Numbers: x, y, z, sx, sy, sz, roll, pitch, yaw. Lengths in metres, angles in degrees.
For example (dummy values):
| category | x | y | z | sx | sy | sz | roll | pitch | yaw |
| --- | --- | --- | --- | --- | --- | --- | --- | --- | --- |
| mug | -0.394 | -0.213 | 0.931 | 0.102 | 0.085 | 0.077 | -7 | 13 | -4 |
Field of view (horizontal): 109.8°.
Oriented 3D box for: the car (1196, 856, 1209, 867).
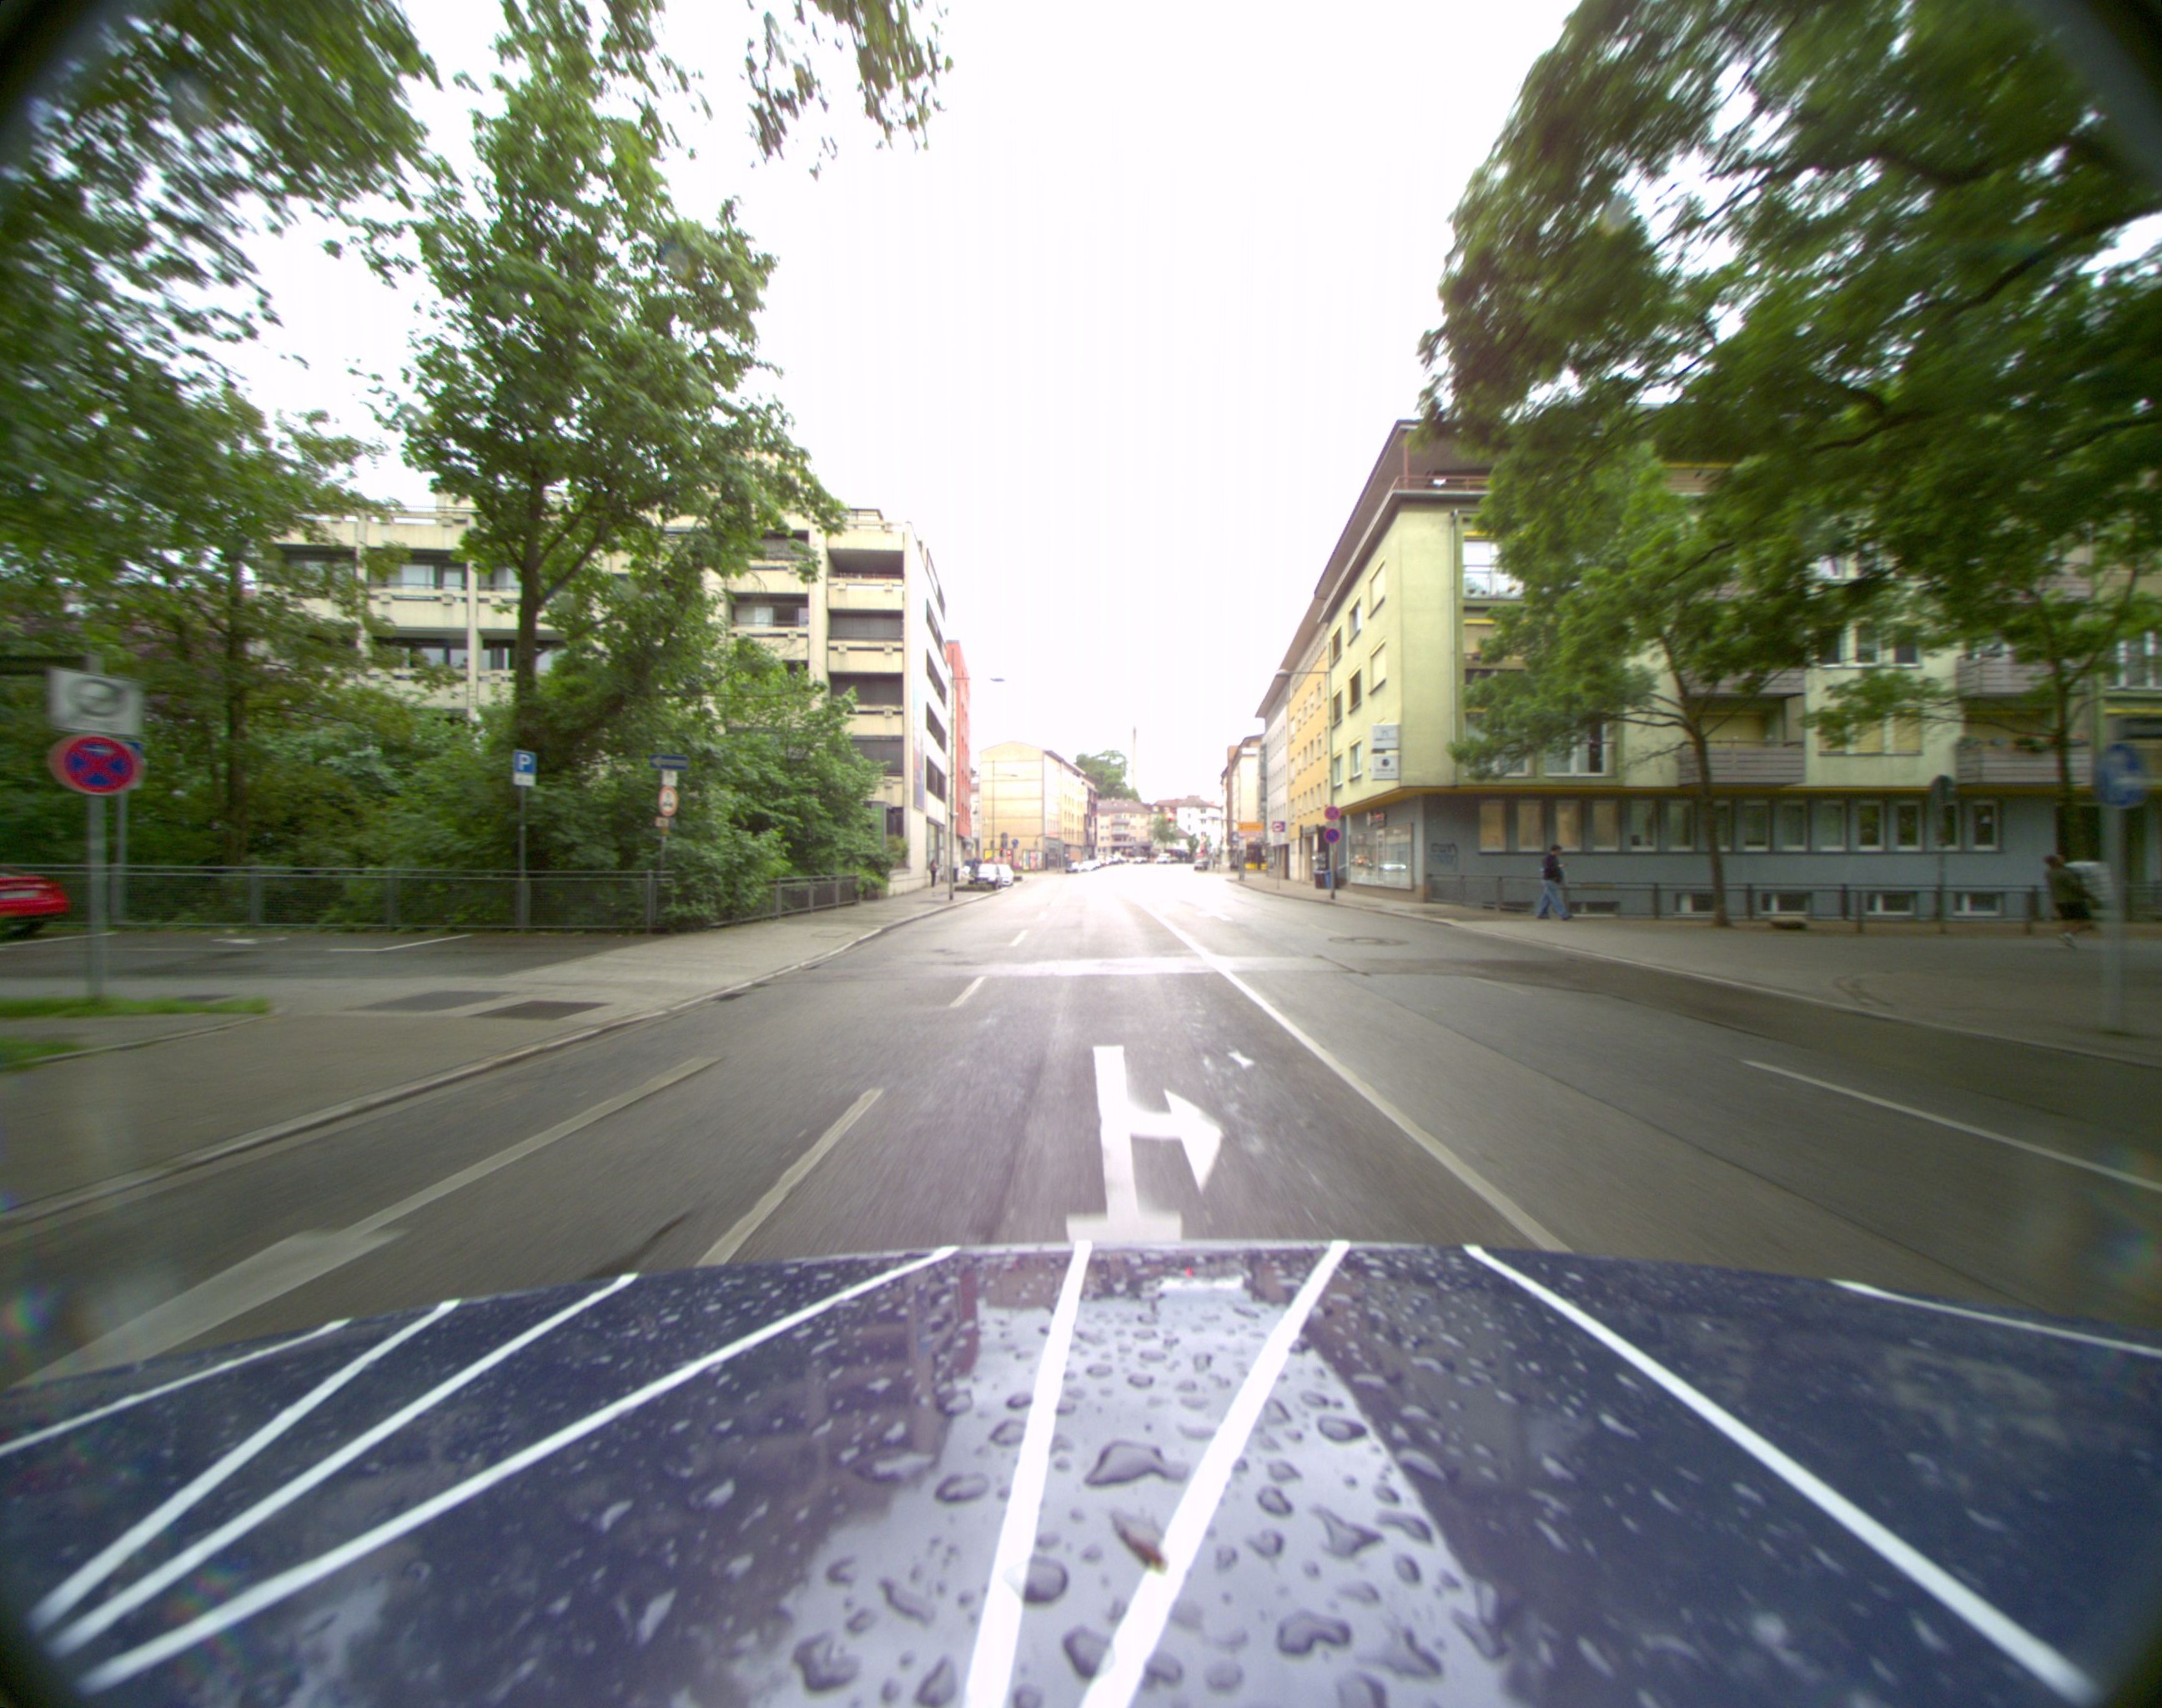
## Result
| category | x | y | z | sx | sy | sz | roll | pitch | yaw |
| --- | --- | --- | --- | --- | --- | --- | --- | --- | --- |
| car | 17.898 | 1.066 | 112.117 | 1.834 | 1.612 | 4.003 | 0 | 0 | 10 |

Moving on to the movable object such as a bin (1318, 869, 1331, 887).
| category | x | y | z | sx | sy | sz | roll | pitch | yaw |
| --- | --- | --- | --- | --- | --- | --- | --- | --- | --- |
| movable object such as a bin | 12.724 | 1.260 | 39.684 | 0.529 | 0.890 | 0.435 | -4 | 0 | 8 |

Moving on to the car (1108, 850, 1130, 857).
| category | x | y | z | sx | sy | sz | roll | pitch | yaw |
| --- | --- | --- | --- | --- | --- | --- | --- | --- | --- |
| car | 8.179 | -0.137 | 163.134 | 2.038 | 1.521 | 4.894 | 0 | 0 | -40 |

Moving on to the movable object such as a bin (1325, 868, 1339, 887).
| category | x | y | z | sx | sy | sz | roll | pitch | yaw |
| --- | --- | --- | --- | --- | --- | --- | --- | --- | --- |
| movable object such as a bin | 12.909 | 1.218 | 39.110 | 0.529 | 0.955 | 0.435 | -4 | 0 | 8 |

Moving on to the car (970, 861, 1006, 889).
| category | x | y | z | sx | sy | sz | roll | pitch | yaw |
| --- | --- | --- | --- | --- | --- | --- | --- | --- | --- |
| car | -5.411 | 1.187 | 44.439 | 1.706 | 1.549 | 3.804 | 1 | 0 | -1 |

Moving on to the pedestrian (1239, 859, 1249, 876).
| category | x | y | z | sx | sy | sz | roll | pitch | yaw |
| --- | --- | --- | --- | --- | --- | --- | --- | --- | --- |
| pedestrian | 15.316 | 1.283 | 71.461 | 0.785 | 1.578 | 0.674 | -2 | 0 | 21 |

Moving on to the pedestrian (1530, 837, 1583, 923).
| category | x | y | z | sx | sy | sz | roll | pitch | yaw |
| --- | --- | --- | --- | --- | --- | --- | --- | --- | --- |
| pedestrian | 11.180 | 0.601 | 17.895 | 0.752 | 2.002 | 0.782 | 0 | 0 | 1 |

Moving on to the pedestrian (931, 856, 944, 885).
| category | x | y | z | sx | sy | sz | roll | pitch | yaw |
| --- | --- | --- | --- | --- | --- | --- | --- | --- | --- |
| pedestrian | -8.114 | 0.930 | 43.084 | 0.599 | 1.650 | 0.691 | 3 | 0 | -7 |

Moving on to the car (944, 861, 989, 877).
| category | x | y | z | sx | sy | sz | roll | pitch | yaw |
| --- | --- | --- | --- | --- | --- | --- | --- | --- | --- |
| car | -12.779 | 1.626 | 84.781 | 4.687 | 1.559 | 1.758 | -2 | 0 | 2 |

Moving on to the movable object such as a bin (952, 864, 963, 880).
| category | x | y | z | sx | sy | sz | roll | pitch | yaw |
| --- | --- | --- | --- | --- | --- | --- | --- | --- | --- |
| movable object such as a bin | -8.691 | 1.275 | 53.615 | 0.681 | 1.097 | 0.514 | 0 | 0 | -1 |

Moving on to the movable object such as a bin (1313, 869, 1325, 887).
| category | x | y | z | sx | sy | sz | roll | pitch | yaw |
| --- | --- | --- | --- | --- | --- | --- | --- | --- | --- |
| movable object such as a bin | 12.729 | 1.297 | 40.647 | 0.465 | 0.922 | 0.428 | -4 | 0 | 8 |

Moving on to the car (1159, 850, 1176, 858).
| category | x | y | z | sx | sy | sz | roll | pitch | yaw |
| --- | --- | --- | --- | --- | --- | --- | --- | --- | --- |
| car | 18.574 | 0.014 | 162.982 | 2.013 | 1.754 | 4.772 | 1 | 0 | 29 |

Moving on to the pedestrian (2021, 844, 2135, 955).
| category | x | y | z | sx | sy | sz | roll | pitch | yaw |
| --- | --- | --- | --- | --- | --- | --- | --- | --- | --- |
| pedestrian | 17.629 | 0.782 | 13.461 | 0.918 | 1.913 | 0.820 | 0 | 0 | 6 |

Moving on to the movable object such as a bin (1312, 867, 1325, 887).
| category | x | y | z | sx | sy | sz | roll | pitch | yaw |
| --- | --- | --- | --- | --- | --- | --- | --- | --- | --- |
| movable object such as a bin | 12.919 | 1.249 | 41.368 | 0.517 | 0.994 | 0.524 | -4 | 0 | 8 |

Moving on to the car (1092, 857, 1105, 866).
| category | x | y | z | sx | sy | sz | roll | pitch | yaw |
| --- | --- | --- | --- | --- | --- | --- | --- | --- | --- |
| car | 2.822 | 1.173 | 124.020 | 1.736 | 1.389 | 3.744 | 0 | 0 | 8 |

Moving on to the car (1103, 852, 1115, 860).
| category | x | y | z | sx | sy | sz | roll | pitch | yaw |
| --- | --- | --- | --- | --- | --- | --- | --- | --- | --- |
| car | 5.147 | 0.417 | 139.106 | 1.736 | 1.389 | 3.744 | 0 | 0 | 8 |

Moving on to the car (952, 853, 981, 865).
| category | x | y | z | sx | sy | sz | roll | pitch | yaw |
| --- | --- | --- | --- | --- | --- | --- | --- | --- | --- |
| car | -16.901 | 0.778 | 112.041 | 3.783 | 1.701 | 1.842 | 0 | 0 | 20 |

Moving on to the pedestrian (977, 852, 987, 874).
| category | x | y | z | sx | sy | sz | roll | pitch | yaw |
| --- | --- | --- | --- | --- | --- | --- | --- | --- | --- |
| pedestrian | -9.620 | 0.853 | 73.890 | 0.806 | 2.140 | 0.737 | 0 | 0 | -23 |

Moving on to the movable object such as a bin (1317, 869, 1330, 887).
| category | x | y | z | sx | sy | sz | roll | pitch | yaw |
| --- | --- | --- | --- | --- | --- | --- | --- | --- | --- |
| movable object such as a bin | 12.793 | 1.258 | 40.135 | 0.529 | 0.922 | 0.426 | -4 | 0 | 8 |

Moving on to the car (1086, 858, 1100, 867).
| category | x | y | z | sx | sy | sz | roll | pitch | yaw |
| --- | --- | --- | --- | --- | --- | --- | --- | --- | --- |
| car | 1.868 | 1.254 | 118.622 | 1.736 | 1.389 | 3.744 | 0 | 0 | 8 |

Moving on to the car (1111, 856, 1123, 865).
| category | x | y | z | sx | sy | sz | roll | pitch | yaw |
| --- | --- | --- | --- | --- | --- | --- | --- | --- | --- |
| car | 7.002 | 1.286 | 147.196 | 1.670 | 1.761 | 4.004 | 1 | 0 | 11 |

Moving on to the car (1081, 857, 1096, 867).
| category | x | y | z | sx | sy | sz | roll | pitch | yaw |
| --- | --- | --- | --- | --- | --- | --- | --- | --- | --- |
| car | 1.120 | 1.206 | 111.831 | 1.736 | 1.389 | 3.744 | 0 | 0 | 8 |

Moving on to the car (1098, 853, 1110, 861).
| category | x | y | z | sx | sy | sz | roll | pitch | yaw |
| --- | --- | --- | --- | --- | --- | --- | --- | --- | --- |
| car | 4.026 | 0.565 | 132.494 | 1.736 | 1.389 | 3.744 | 0 | 0 | 10 |

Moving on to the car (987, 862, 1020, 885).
| category | x | y | z | sx | sy | sz | roll | pitch | yaw |
| --- | --- | --- | --- | --- | --- | --- | --- | --- | --- |
| car | -5.168 | 1.274 | 51.221 | 1.835 | 1.412 | 4.569 | 1 | 0 | -1 |

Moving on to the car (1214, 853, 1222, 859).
| category | x | y | z | sx | sy | sz | roll | pitch | yaw |
| --- | --- | --- | --- | --- | --- | --- | --- | --- | --- |
| car | 33.147 | 0.430 | 184.101 | 1.591 | 1.518 | 3.492 | 0 | 0 | 14 |

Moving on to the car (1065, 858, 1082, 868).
| category | x | y | z | sx | sy | sz | roll | pitch | yaw |
| --- | --- | --- | --- | --- | --- | --- | --- | --- | --- |
| car | -0.971 | 1.223 | 103.717 | 1.736 | 1.389 | 3.744 | 0 | 0 | 8 |
